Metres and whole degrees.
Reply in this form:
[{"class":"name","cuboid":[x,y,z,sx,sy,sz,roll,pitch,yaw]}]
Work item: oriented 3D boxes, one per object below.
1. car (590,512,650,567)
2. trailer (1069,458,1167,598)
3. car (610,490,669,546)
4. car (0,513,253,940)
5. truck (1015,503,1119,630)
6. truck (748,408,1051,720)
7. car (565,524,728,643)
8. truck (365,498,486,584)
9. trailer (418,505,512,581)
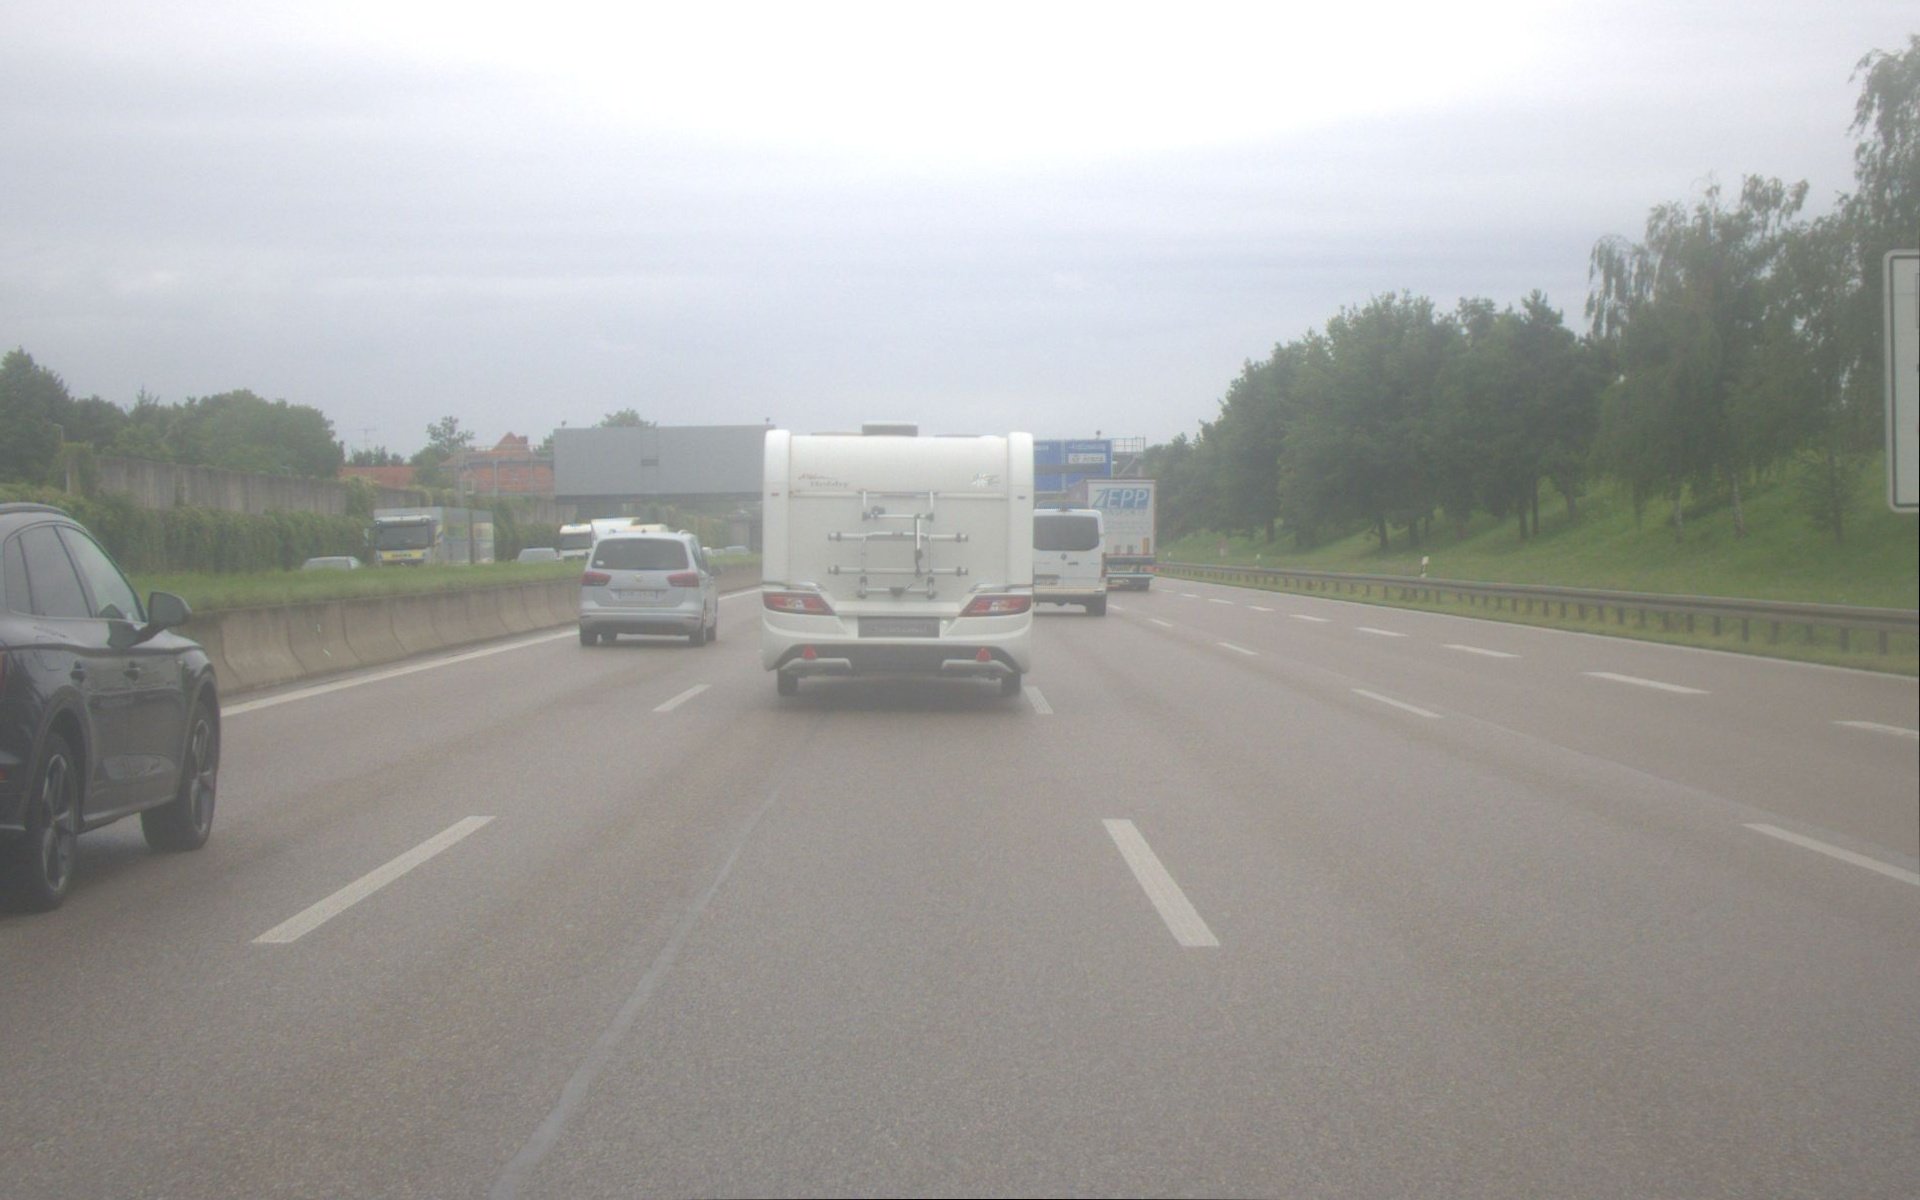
[{"class":"car","cuboid":[-17.495,-3.091,177.183,2.322,2.725,7.315,1,1,0]},{"class":"trailer","cuboid":[5.782,-2.616,127.940,3.100,4.905,11.790,1,1,0]},{"class":"car","cuboid":[-14.353,-3.653,154.286,2.058,2.377,7.324,1,1,-1]},{"class":"car","cuboid":[-4.608,0.432,15.161,1.993,1.594,5.124,1,1,-1]},{"class":"truck","cuboid":[2.389,-0.759,78.369,2.053,2.760,5.549,1,1,-1]},{"class":"truck","cuboid":[-0.582,-0.344,33.164,2.661,2.733,5.078,1,1,-1]},{"class":"car","cuboid":[-4.647,-0.272,51.499,2.128,1.700,4.113,1,1,-1]},{"class":"truck","cuboid":[-21.004,-2.289,135.681,2.884,3.210,11.358,1,1,0]},{"class":"trailer","cuboid":[-20.879,-2.385,145.334,2.777,3.066,7.873,1,1,0]}]
